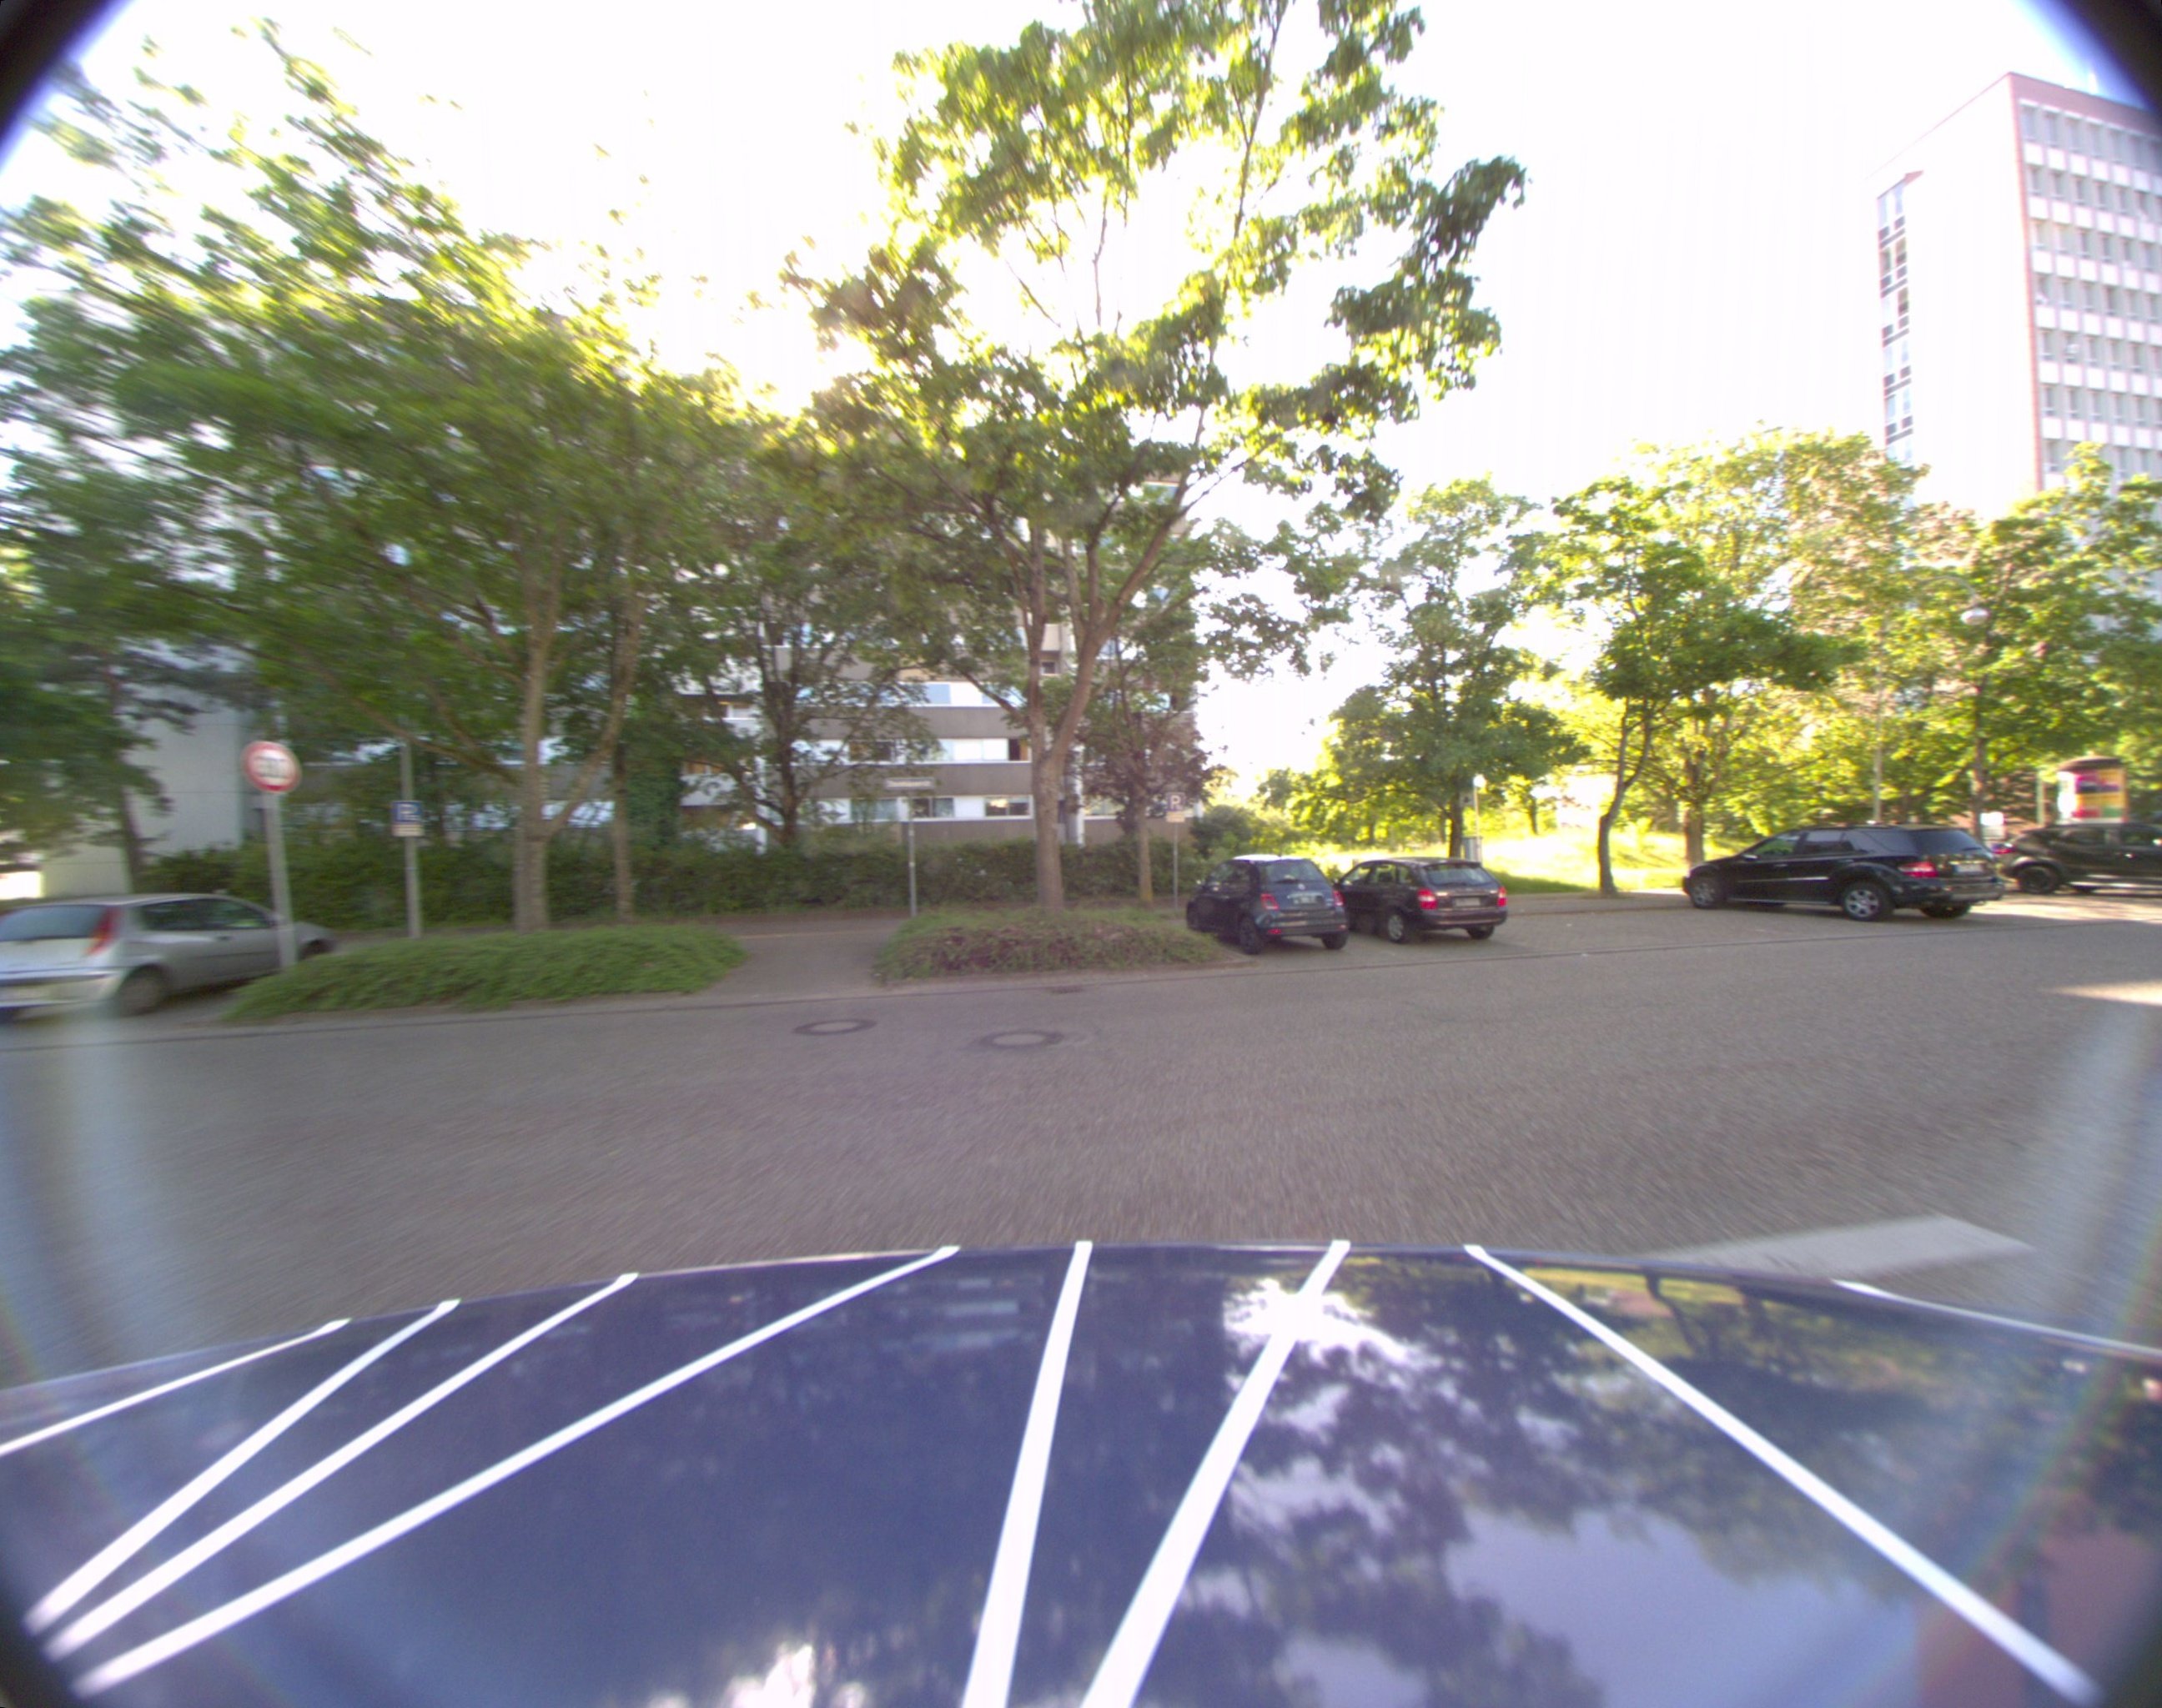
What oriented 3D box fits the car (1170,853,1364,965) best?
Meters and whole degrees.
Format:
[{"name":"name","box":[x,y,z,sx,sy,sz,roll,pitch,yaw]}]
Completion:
[{"name":"car","box":[3.005,0.800,13.135,1.702,1.490,3.815,-2,2,-13]}]

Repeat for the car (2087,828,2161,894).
[{"name":"car","box":[26.550,0.118,17.035,1.818,1.536,4.452,-2,0,-13]}]

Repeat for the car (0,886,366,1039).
[{"name":"car","box":[-12.410,1.320,10.489,1.717,1.443,3.996,-2,1,-10]}]

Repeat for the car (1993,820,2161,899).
[{"name":"car","box":[23.453,0.098,16.637,1.734,1.609,4.126,-3,2,-12]}]

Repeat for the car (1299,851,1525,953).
[{"name":"car","box":[5.703,0.728,13.702,1.822,1.379,3.995,-2,2,-10]}]

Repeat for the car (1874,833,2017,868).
[{"name":"car","box":[40.000,-0.131,35.298,1.835,1.521,3.996,-2,0,-11]}]

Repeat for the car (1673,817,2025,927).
[{"name":"car","box":[14.744,0.260,15.062,2.000,1.769,4.597,-2,1,-10]}]
